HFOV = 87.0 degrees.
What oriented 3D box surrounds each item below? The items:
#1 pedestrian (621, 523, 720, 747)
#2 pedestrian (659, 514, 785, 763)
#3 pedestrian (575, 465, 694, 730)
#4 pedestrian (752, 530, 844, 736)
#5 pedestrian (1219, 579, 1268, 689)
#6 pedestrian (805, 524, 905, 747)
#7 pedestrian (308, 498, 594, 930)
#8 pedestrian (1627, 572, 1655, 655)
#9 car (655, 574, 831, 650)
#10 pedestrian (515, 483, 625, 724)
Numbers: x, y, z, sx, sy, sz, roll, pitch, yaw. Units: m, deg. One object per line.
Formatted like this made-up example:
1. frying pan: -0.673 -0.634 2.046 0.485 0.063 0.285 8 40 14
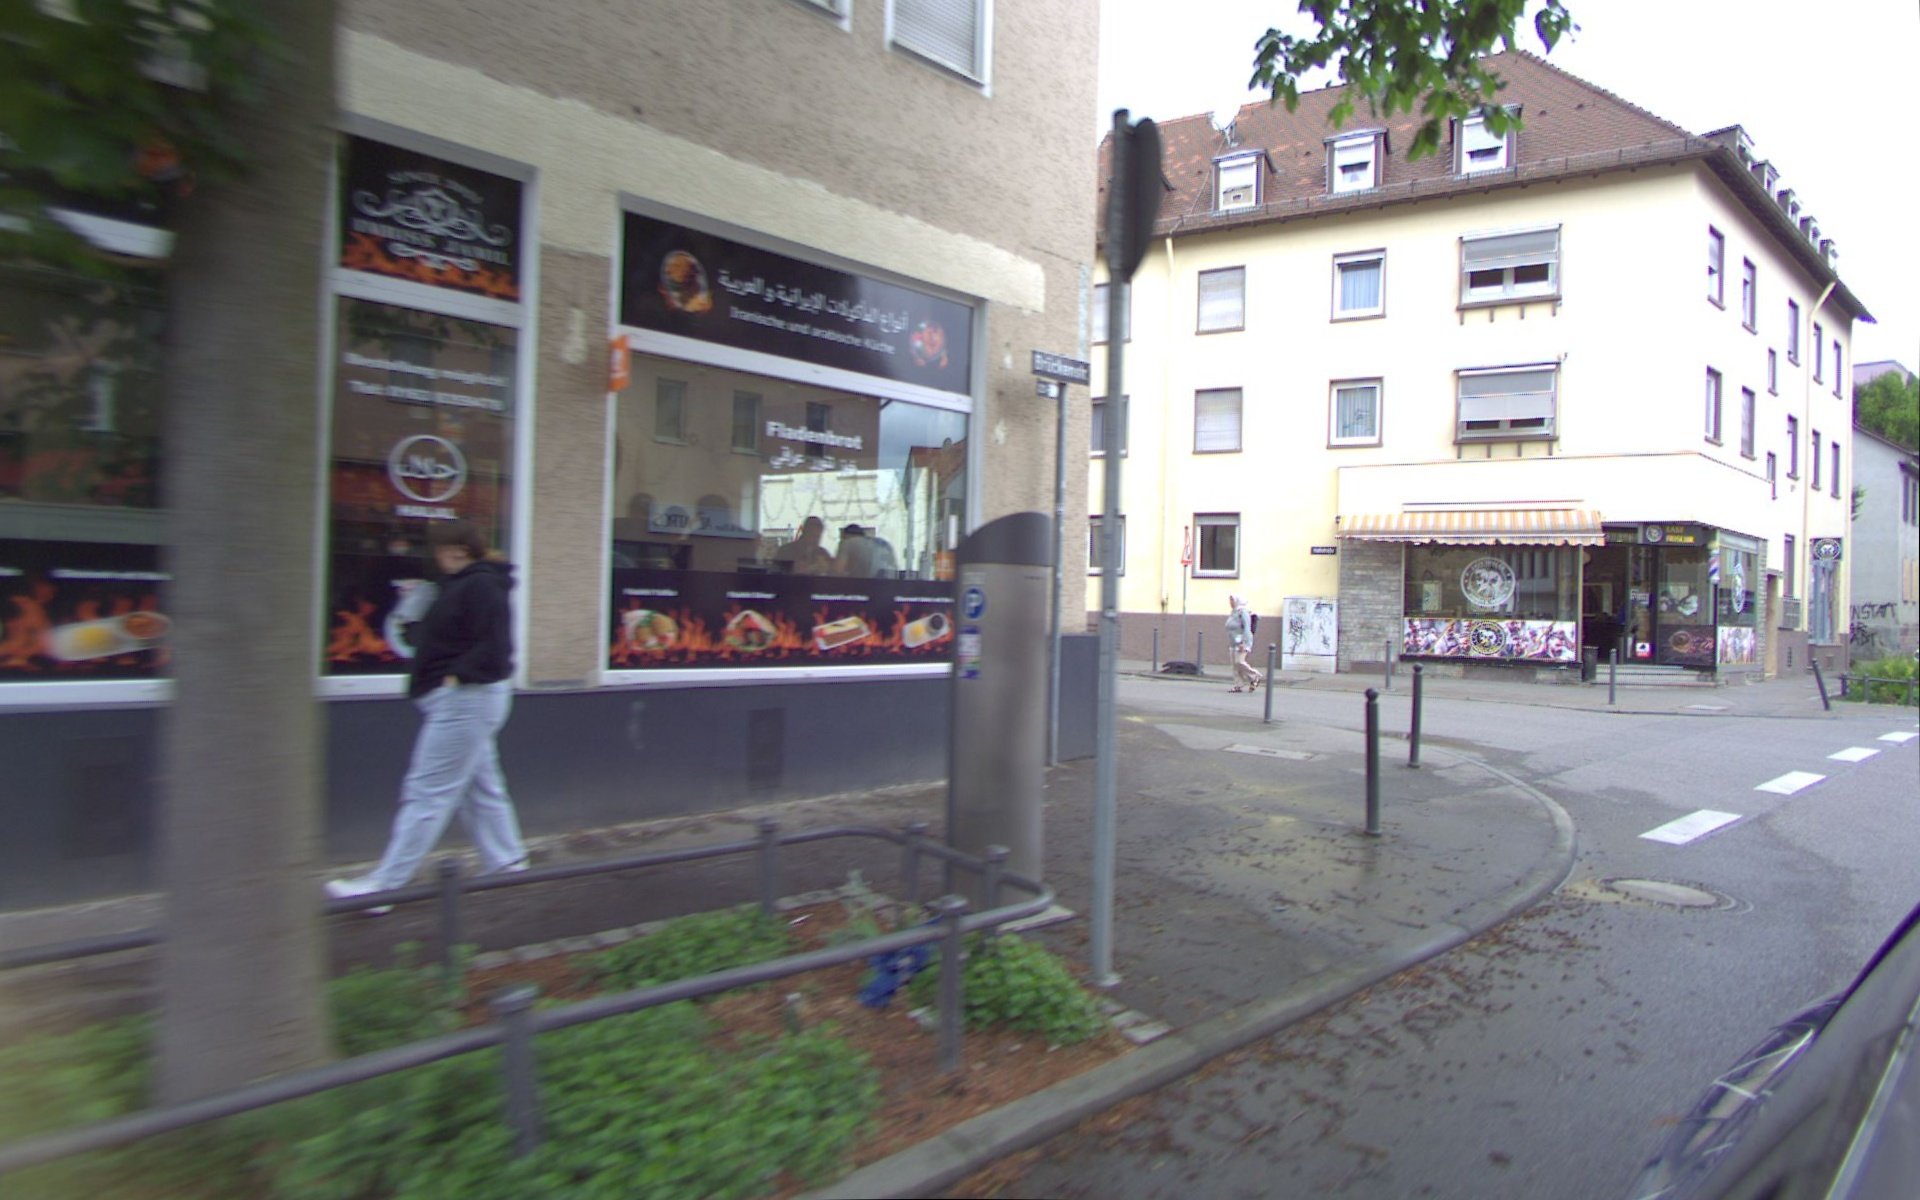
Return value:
1. pedestrian: -2.159 0.250 7.537 0.511 1.580 0.568 1 -1 -41
2. pedestrian: -1.616 0.247 6.866 0.643 1.580 0.568 1 -1 -41
3. pedestrian: -2.074 -0.015 6.443 0.546 1.580 0.568 1 -1 -41
4. pedestrian: -1.308 0.254 8.173 0.511 1.580 0.568 1 -1 -41
5. pedestrian: 4.489 0.515 16.063 0.666 1.685 0.798 1 0 13
6. pedestrian: -0.786 0.252 7.533 0.511 1.580 0.568 1 -1 -41
7. pedestrian: -2.238 0.441 4.480 0.966 1.673 0.615 2 0 -42
8. pedestrian: 14.780 0.291 21.979 0.391 1.797 0.385 0 -1 16
9. car: -5.550 0.295 25.776 4.195 1.703 1.756 2 -2 29
10. pedestrian: -2.711 0.023 7.038 0.551 1.580 0.568 1 -1 -41
